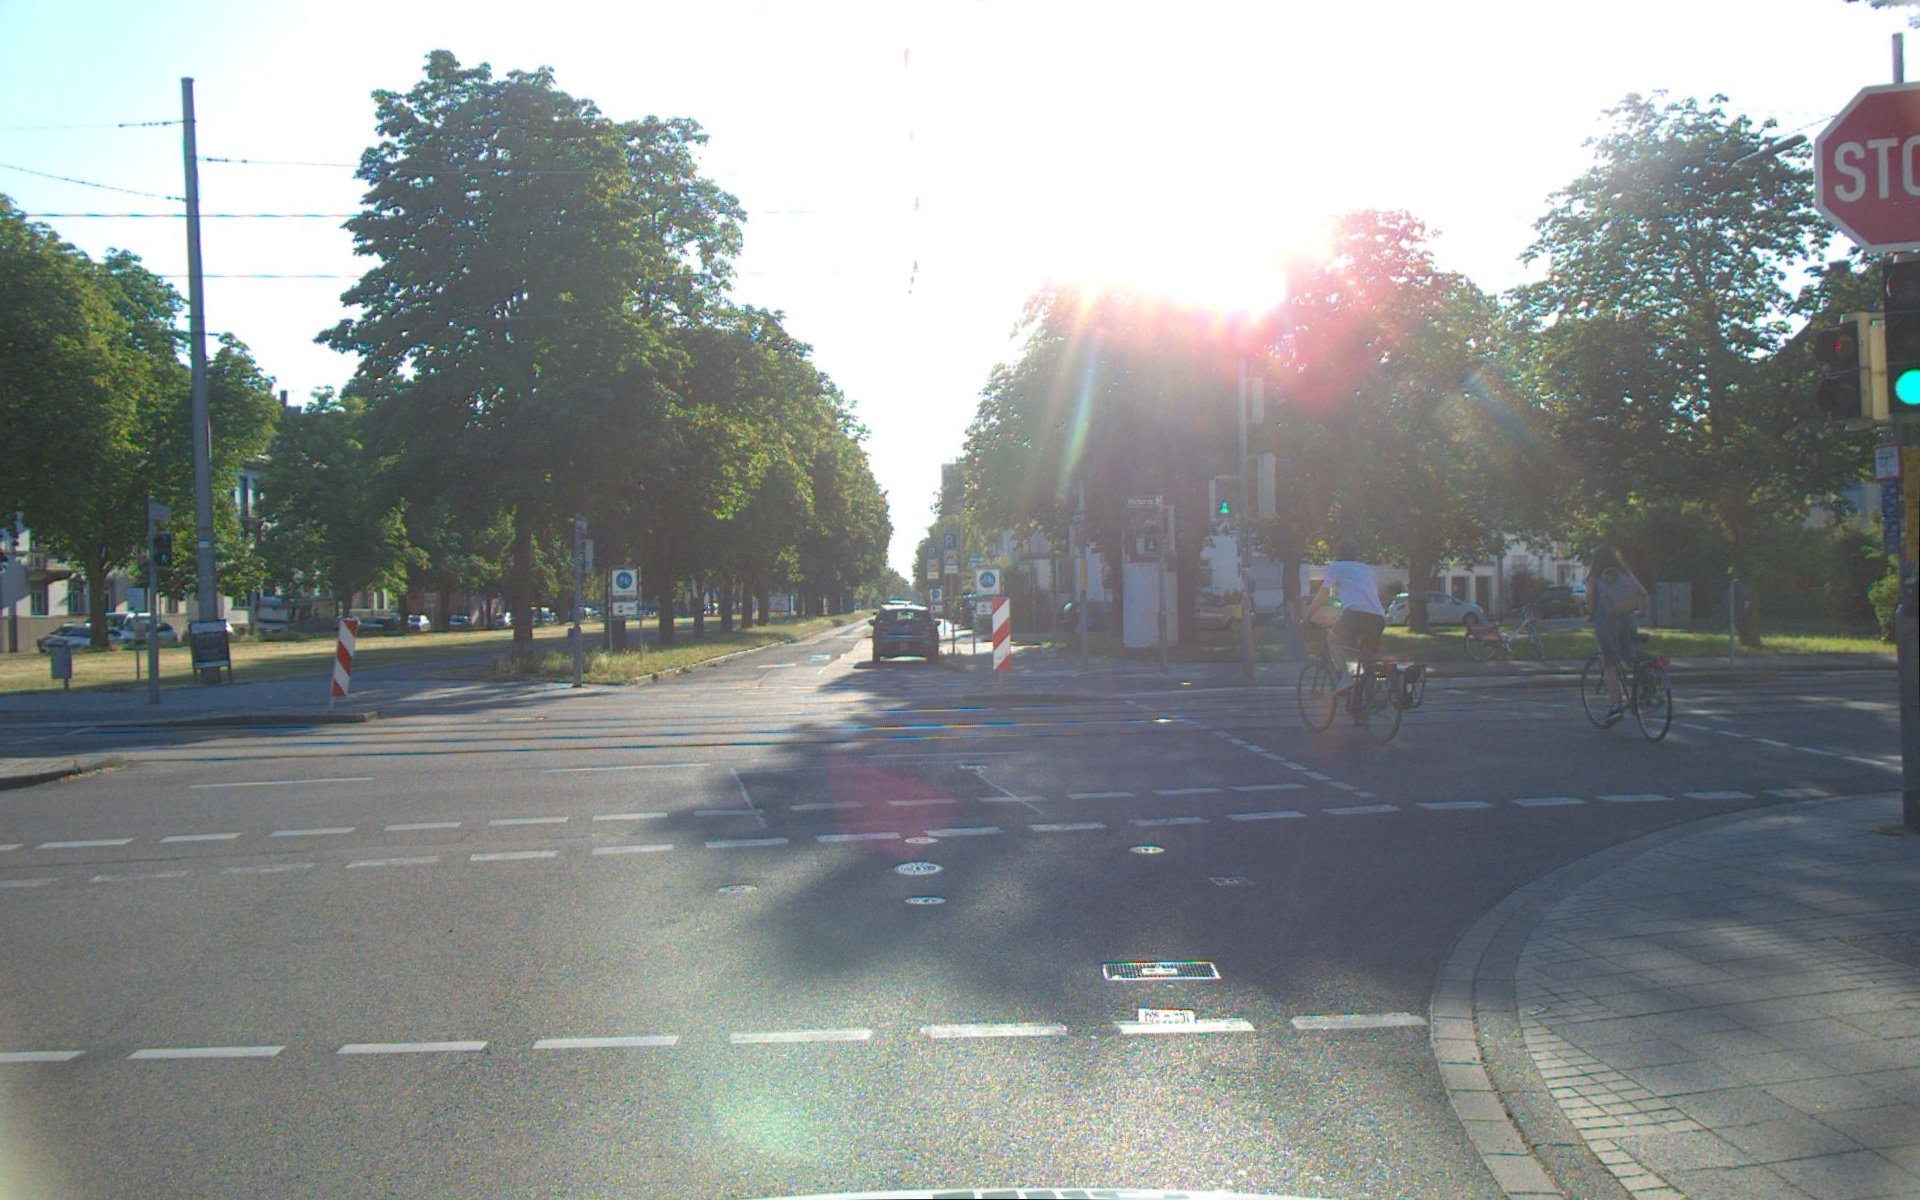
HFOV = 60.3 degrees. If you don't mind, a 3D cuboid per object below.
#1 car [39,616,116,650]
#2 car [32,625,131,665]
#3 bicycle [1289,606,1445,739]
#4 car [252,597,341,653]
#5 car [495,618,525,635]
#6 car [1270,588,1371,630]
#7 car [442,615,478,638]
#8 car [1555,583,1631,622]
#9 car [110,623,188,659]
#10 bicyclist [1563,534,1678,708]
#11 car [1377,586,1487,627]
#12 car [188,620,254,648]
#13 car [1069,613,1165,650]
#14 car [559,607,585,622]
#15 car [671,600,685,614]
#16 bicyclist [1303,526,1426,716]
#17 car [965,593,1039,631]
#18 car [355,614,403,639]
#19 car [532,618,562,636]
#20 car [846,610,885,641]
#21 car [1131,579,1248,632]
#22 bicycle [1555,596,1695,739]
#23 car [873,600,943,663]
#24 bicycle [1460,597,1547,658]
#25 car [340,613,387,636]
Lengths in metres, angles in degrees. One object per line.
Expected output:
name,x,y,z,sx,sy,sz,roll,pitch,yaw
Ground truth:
car,-45.064,1.690,84.527,1.681,1.661,4.190,1,-1,0
car,-39.329,1.994,74.184,1.953,1.688,4.570,1,-1,0
bicycle,3.878,0.670,15.923,0.563,1.205,1.896,1,-1,-17
car,-39.916,1.462,99.778,2.344,3.186,7.850,1,0,-2
car,-46.599,2.775,171.399,1.953,1.688,4.354,1,-1,0
car,13.964,0.369,64.090,3.486,1.542,1.603,-1,-1,-8
car,-40.934,2.183,135.440,1.774,1.812,4.121,1,-1,-1
car,27.384,0.109,71.525,1.962,1.579,3.982,-2,0,38
car,-39.303,1.973,80.273,1.760,1.581,4.416,1,0,-3
bicyclist,6.256,0.201,15.694,0.698,1.590,0.893,1,-1,-4
car,18.452,0.272,64.739,3.846,1.550,1.521,0,-2,-7
car,-45.190,2.071,101.206,1.953,1.688,4.570,1,-1,0
car,6.699,1.348,70.860,3.907,1.472,1.715,-1,-1,-3
car,-43.578,1.637,185.778,1.953,1.688,4.568,-1,0,-2
car,-42.945,1.030,252.287,1.621,1.972,3.565,1,-2,-2
bicyclist,3.878,0.204,15.887,0.802,1.762,0.889,1,-1,-18
car,2.321,0.679,92.381,3.910,1.854,1.757,-2,-6,-6
car,-40.407,1.841,115.051,1.841,1.703,4.314,1,-1,-1
car,-41.483,2.725,166.164,1.982,1.688,3.982,1,-1,-1
car,-4.356,1.182,76.690,1.675,1.383,4.201,1,-1,-2
car,8.894,0.232,64.346,4.156,1.908,2.029,-2,-1,-2
bicycle,6.298,0.603,15.771,0.481,1.204,1.964,1,2,-1
car,-1.323,0.823,43.393,1.690,1.537,4.540,1,-1,0
bicycle,10.404,0.524,31.686,1.489,1.108,0.468,-1,1,7
car,-45.190,1.859,125.462,1.953,1.688,4.373,1,-1,0
